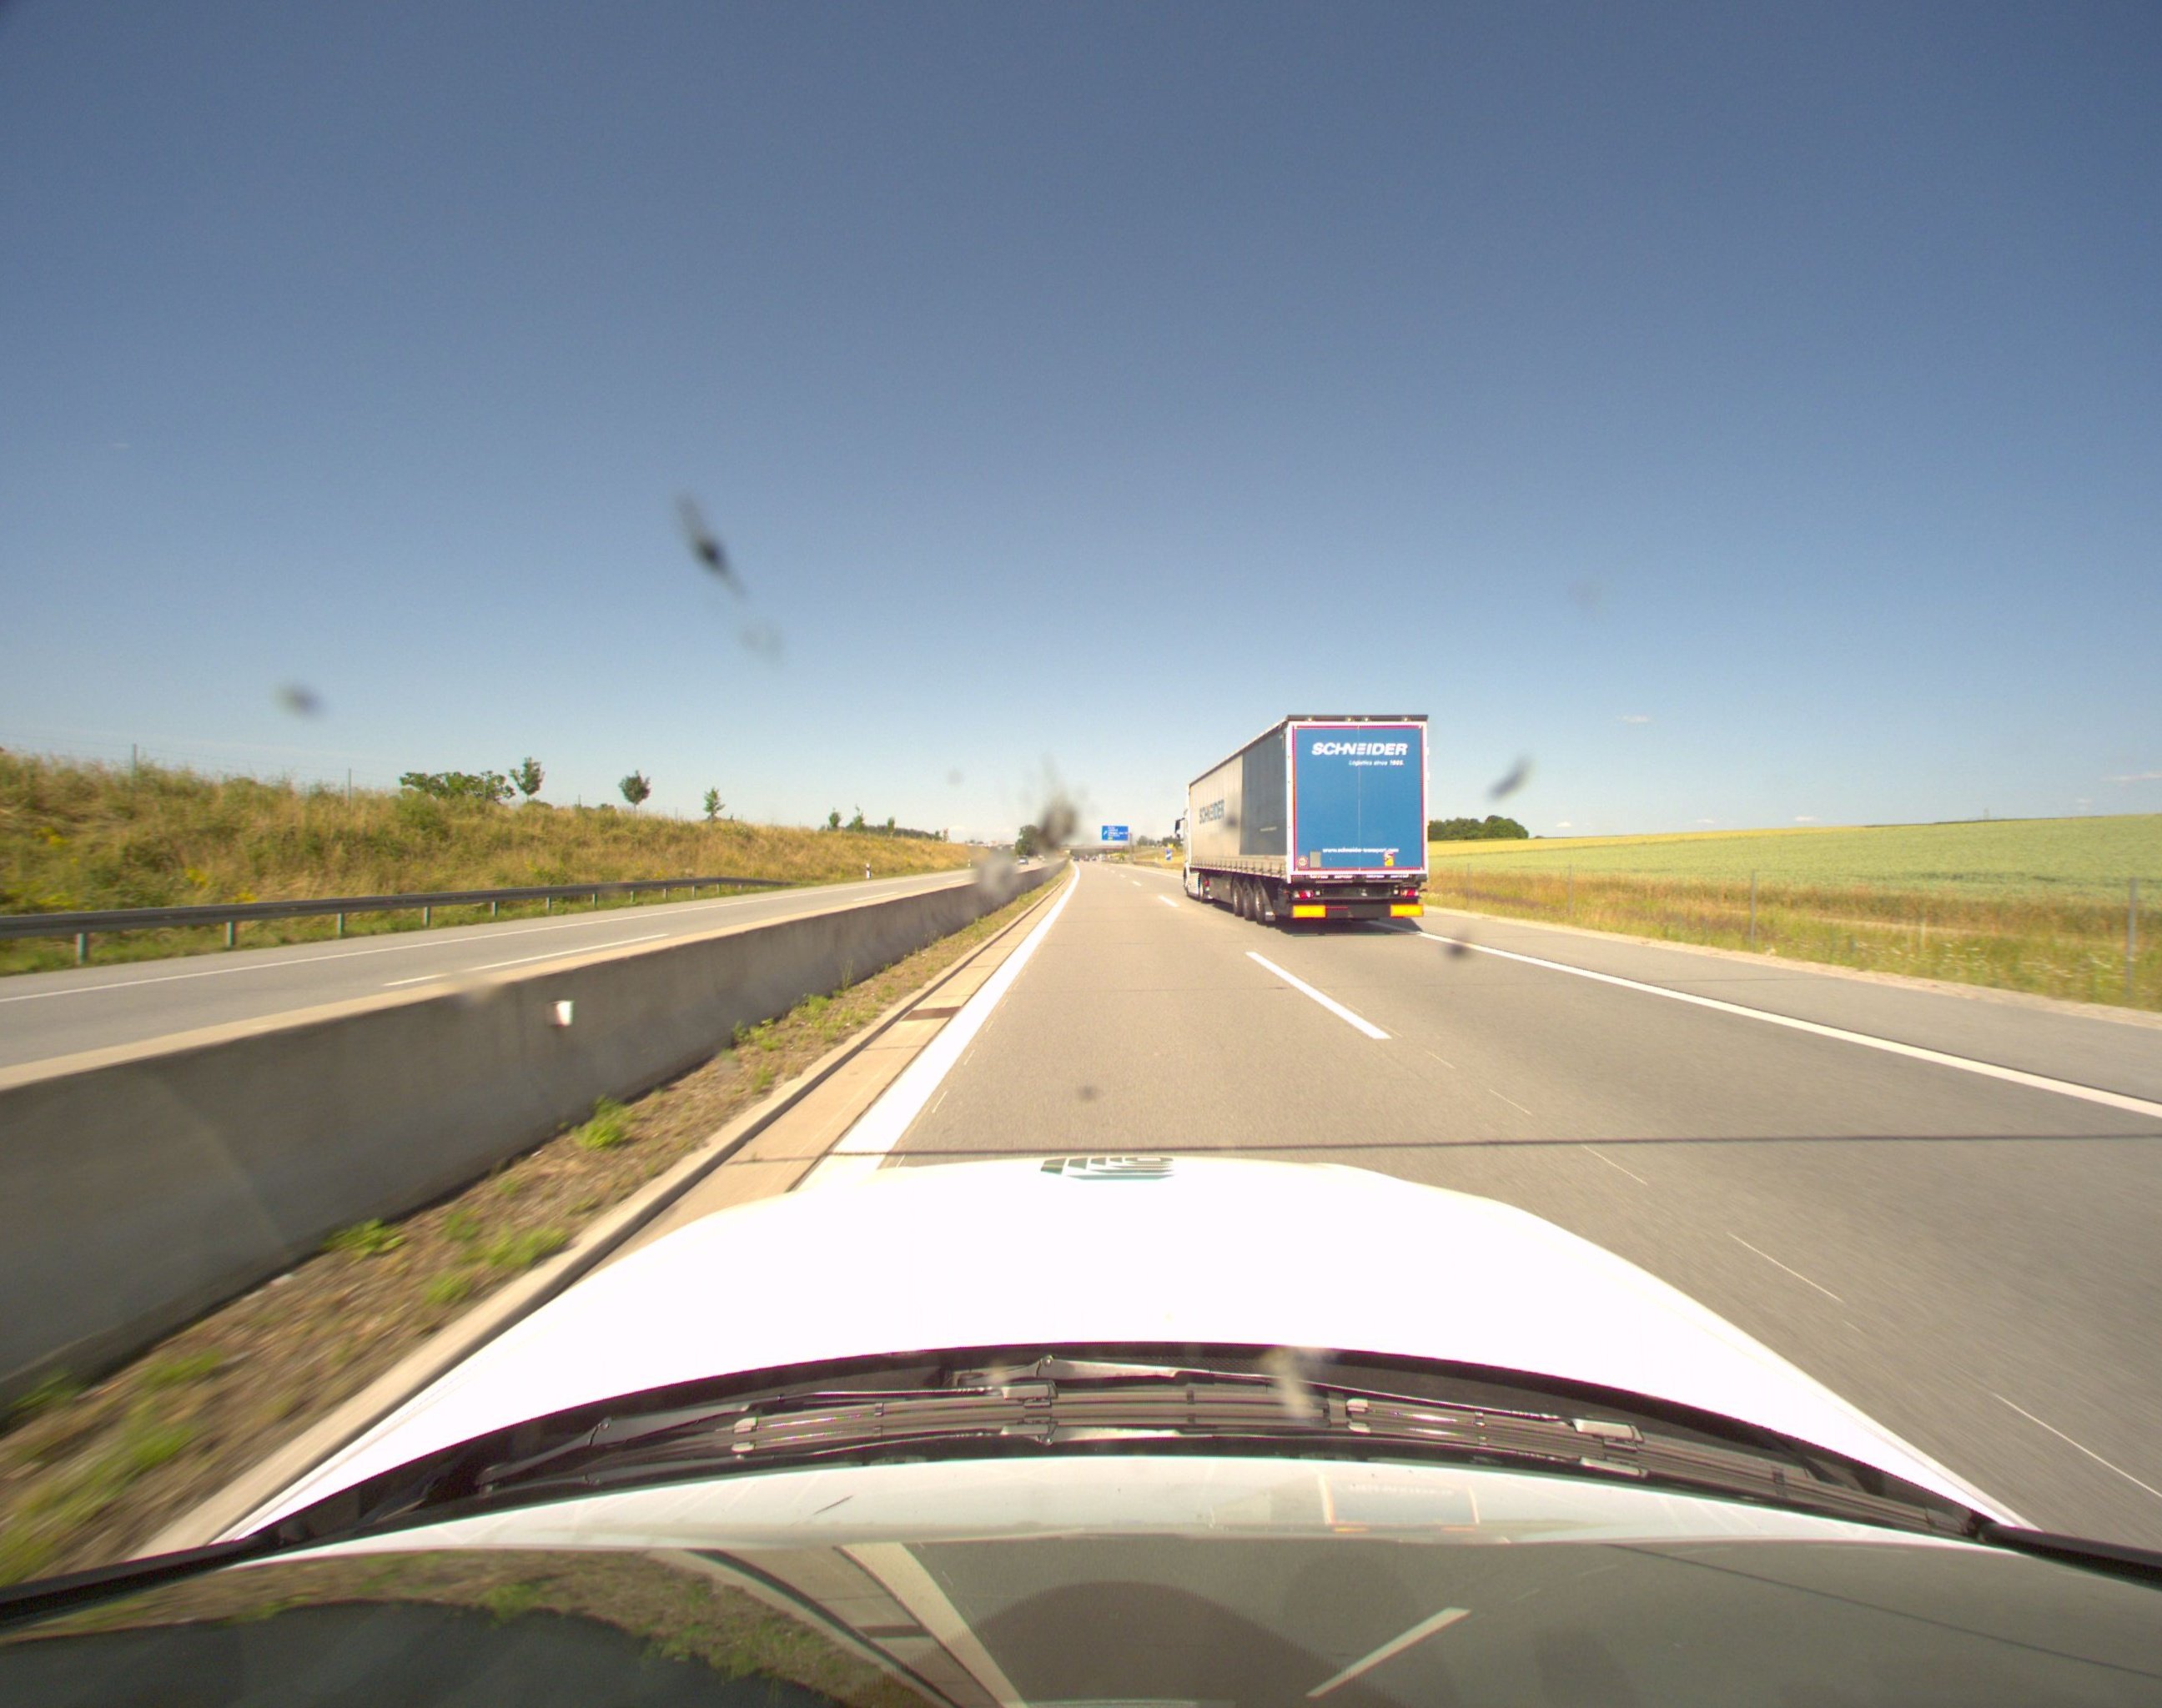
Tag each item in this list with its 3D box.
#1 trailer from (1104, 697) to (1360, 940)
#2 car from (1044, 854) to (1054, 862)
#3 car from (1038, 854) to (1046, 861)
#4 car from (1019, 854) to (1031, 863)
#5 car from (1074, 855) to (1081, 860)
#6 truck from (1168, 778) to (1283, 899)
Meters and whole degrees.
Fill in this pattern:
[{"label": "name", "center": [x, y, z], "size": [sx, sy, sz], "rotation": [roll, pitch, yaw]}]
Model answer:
[{"label": "trailer", "center": [5.120, -0.684, 22.108], "size": [3.148, 4.294, 15.547], "rotation": [-2, 0, 24]}, {"label": "car", "center": [-6.996, 0.817, 176.860], "size": [1.875, 1.575, 4.559], "rotation": [-2, 0, -4]}, {"label": "car", "center": [-11.400, 1.007, 239.303], "size": [2.229, 1.934, 5.787], "rotation": [0, 0, -4]}, {"label": "car", "center": [-9.772, 0.844, 141.717], "size": [1.874, 1.502, 4.563], "rotation": [-2, 0, -1]}, {"label": "car", "center": [-1.213, 1.184, 252.234], "size": [1.986, 1.552, 4.001], "rotation": [-2, 0, 1]}, {"label": "truck", "center": [5.235, -0.534, 30.689], "size": [3.073, 4.014, 6.187], "rotation": [-2, 0, 0]}]
